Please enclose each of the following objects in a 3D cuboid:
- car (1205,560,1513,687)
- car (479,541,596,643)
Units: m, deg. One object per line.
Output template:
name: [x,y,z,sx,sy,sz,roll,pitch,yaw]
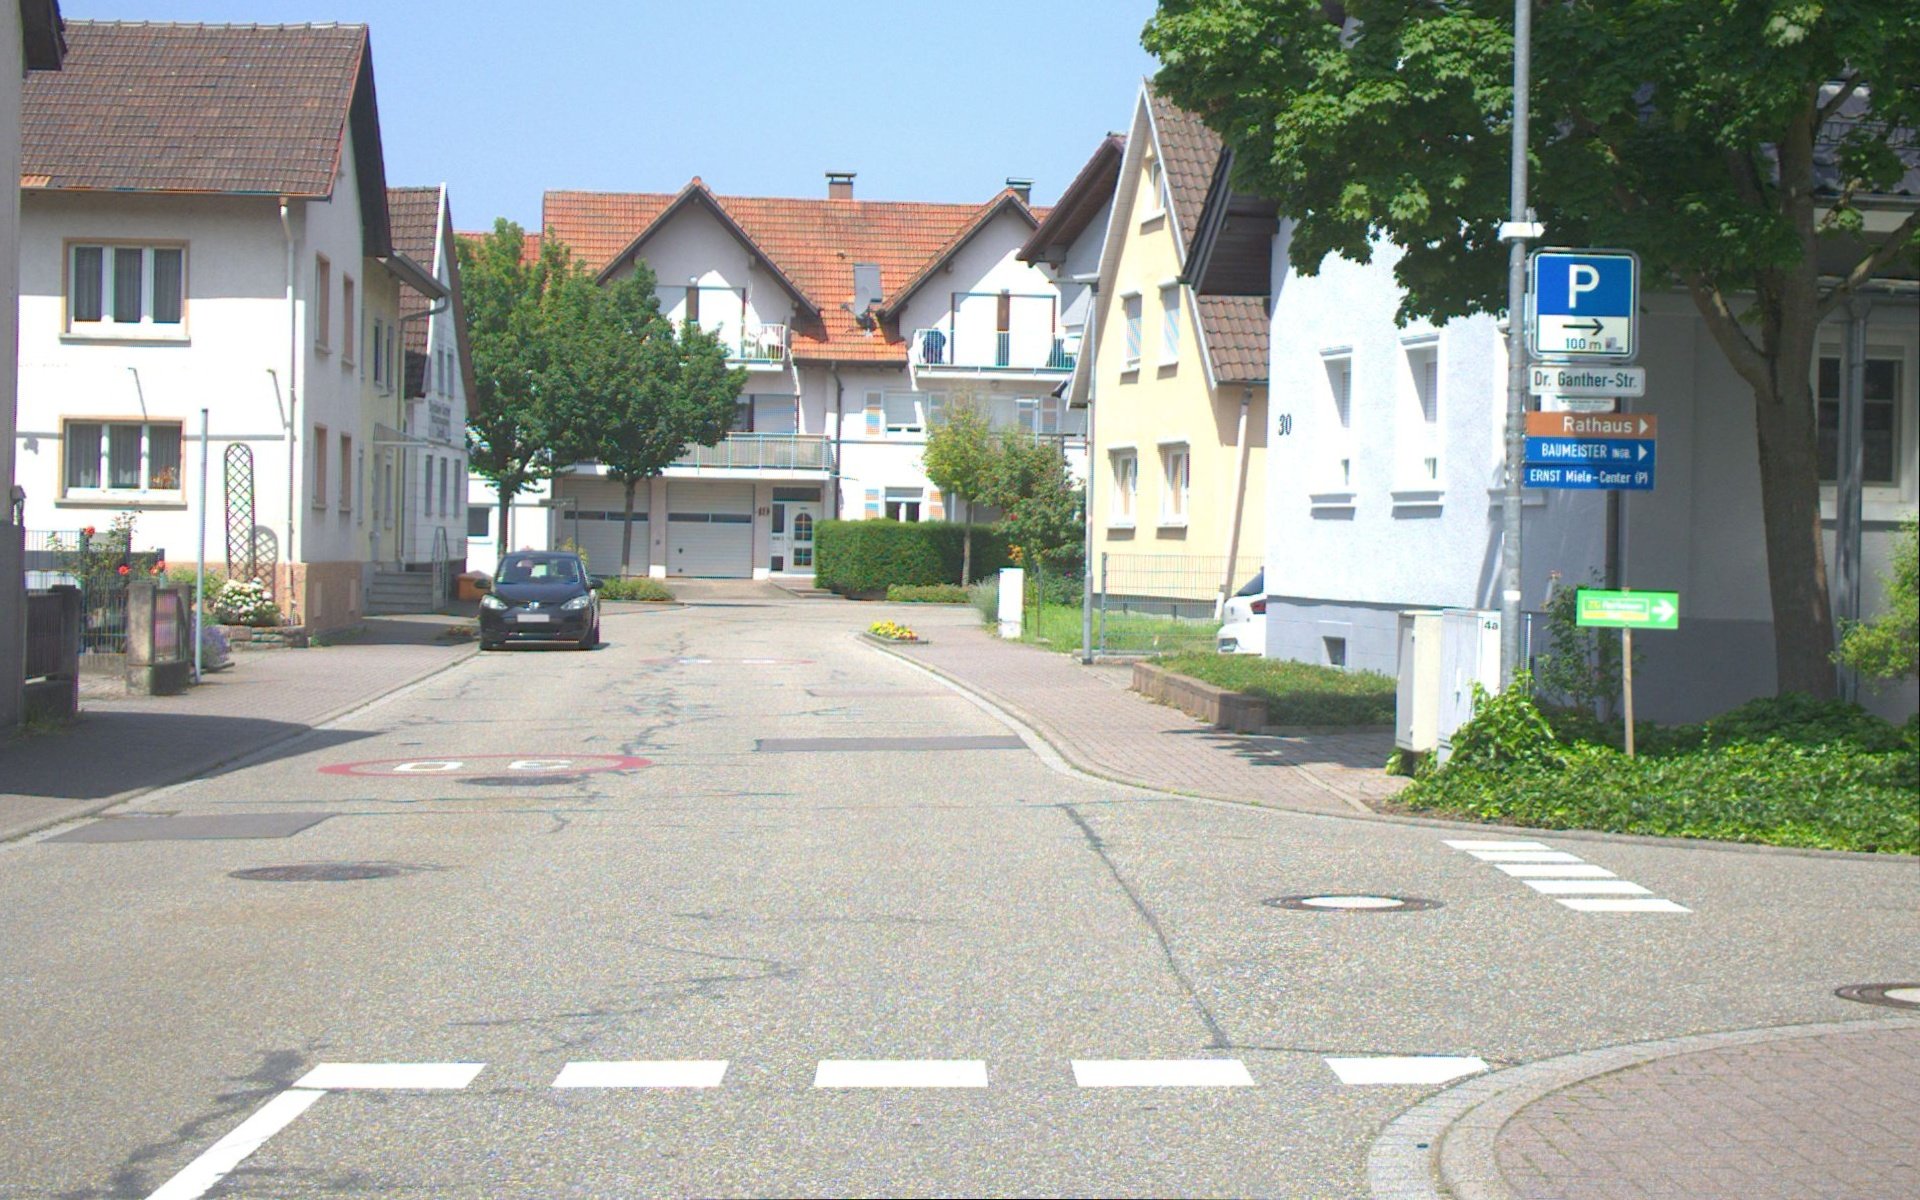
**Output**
car: [4.322,0.254,37.415,3.042,1.341,1.423,0,0,-10]
car: [-6.379,-0.150,52.215,1.626,1.481,4.001,0,1,-5]
